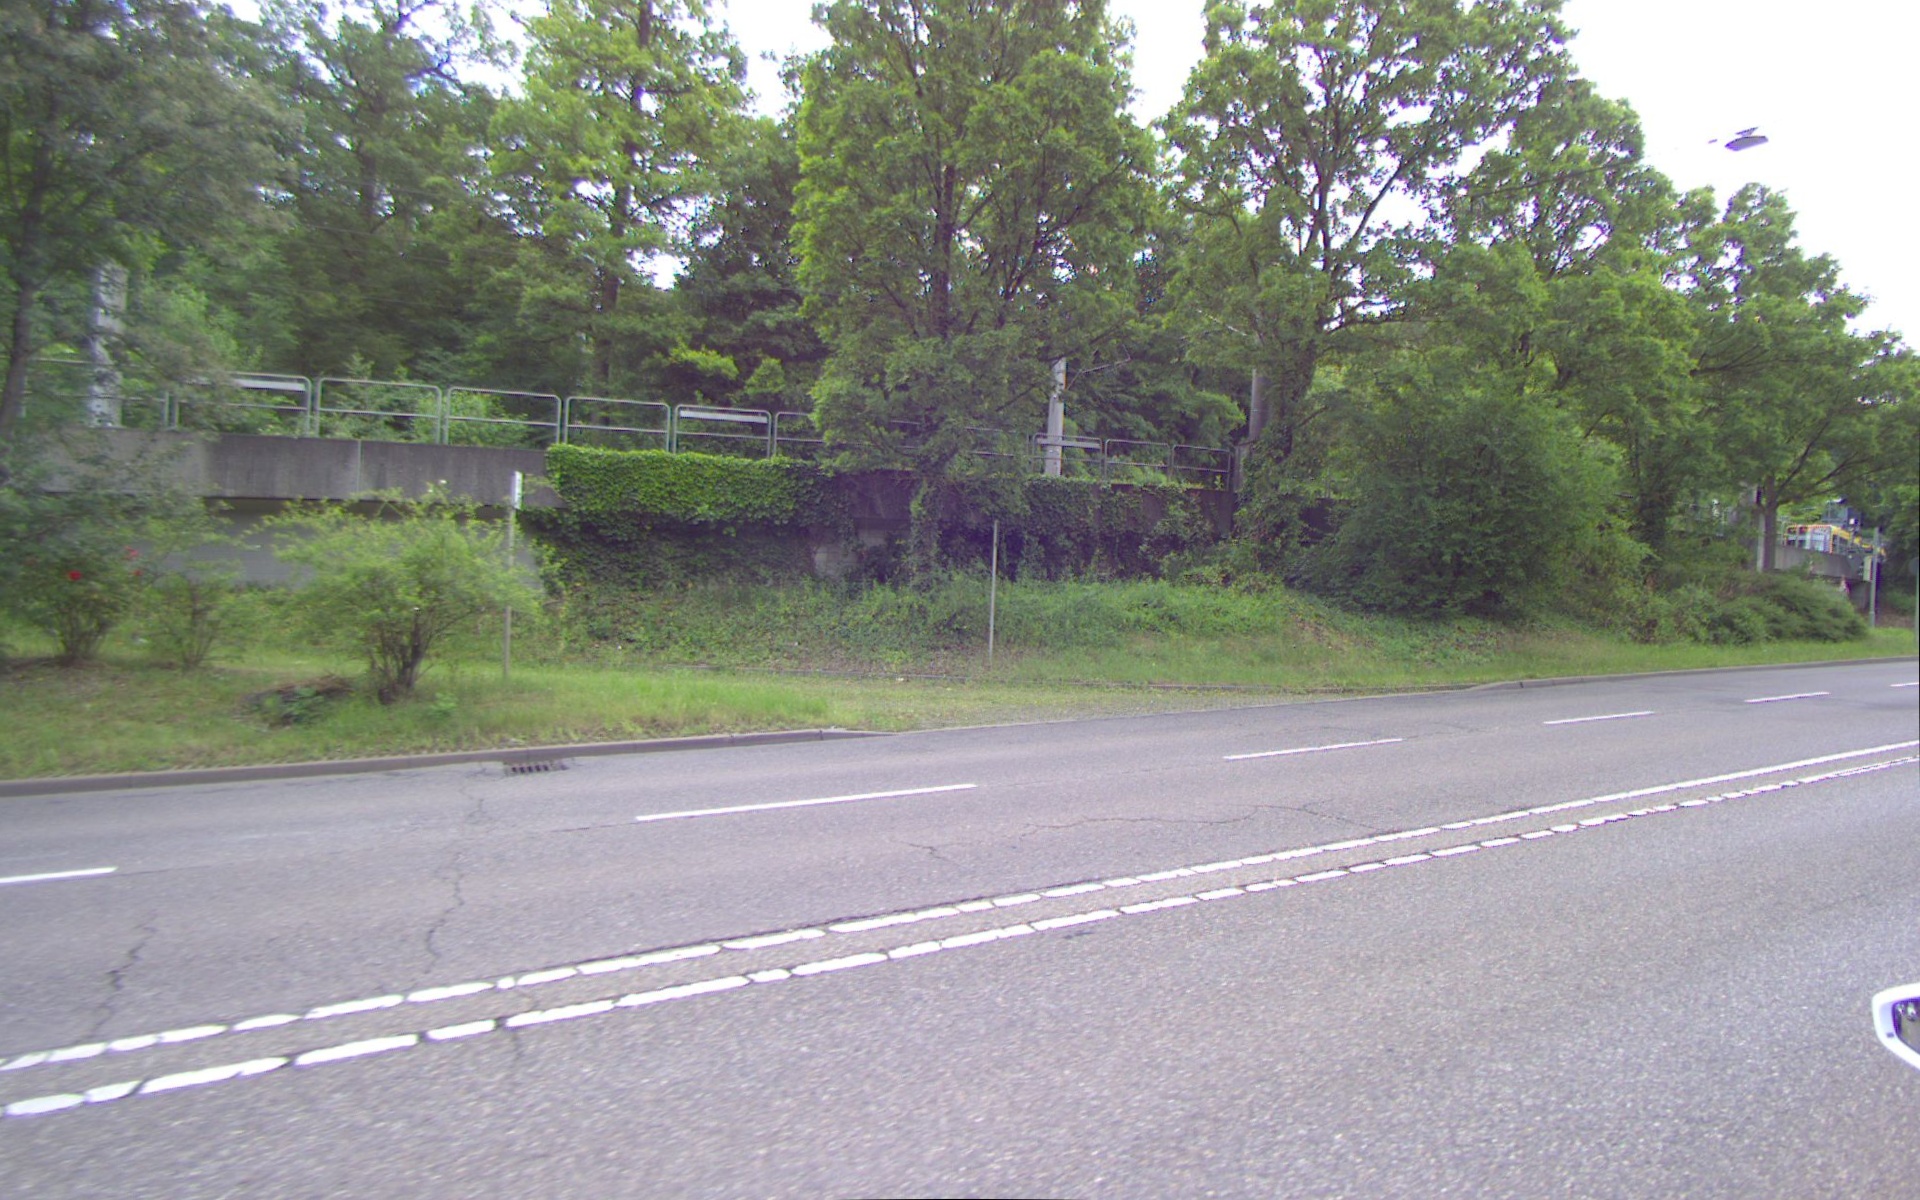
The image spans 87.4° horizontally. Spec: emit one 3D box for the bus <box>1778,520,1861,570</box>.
[{"bbox_3d":[57.994,-3.632,67.709,7.868,2.826,2.523,2,0,-36],"label":"bus"}]
